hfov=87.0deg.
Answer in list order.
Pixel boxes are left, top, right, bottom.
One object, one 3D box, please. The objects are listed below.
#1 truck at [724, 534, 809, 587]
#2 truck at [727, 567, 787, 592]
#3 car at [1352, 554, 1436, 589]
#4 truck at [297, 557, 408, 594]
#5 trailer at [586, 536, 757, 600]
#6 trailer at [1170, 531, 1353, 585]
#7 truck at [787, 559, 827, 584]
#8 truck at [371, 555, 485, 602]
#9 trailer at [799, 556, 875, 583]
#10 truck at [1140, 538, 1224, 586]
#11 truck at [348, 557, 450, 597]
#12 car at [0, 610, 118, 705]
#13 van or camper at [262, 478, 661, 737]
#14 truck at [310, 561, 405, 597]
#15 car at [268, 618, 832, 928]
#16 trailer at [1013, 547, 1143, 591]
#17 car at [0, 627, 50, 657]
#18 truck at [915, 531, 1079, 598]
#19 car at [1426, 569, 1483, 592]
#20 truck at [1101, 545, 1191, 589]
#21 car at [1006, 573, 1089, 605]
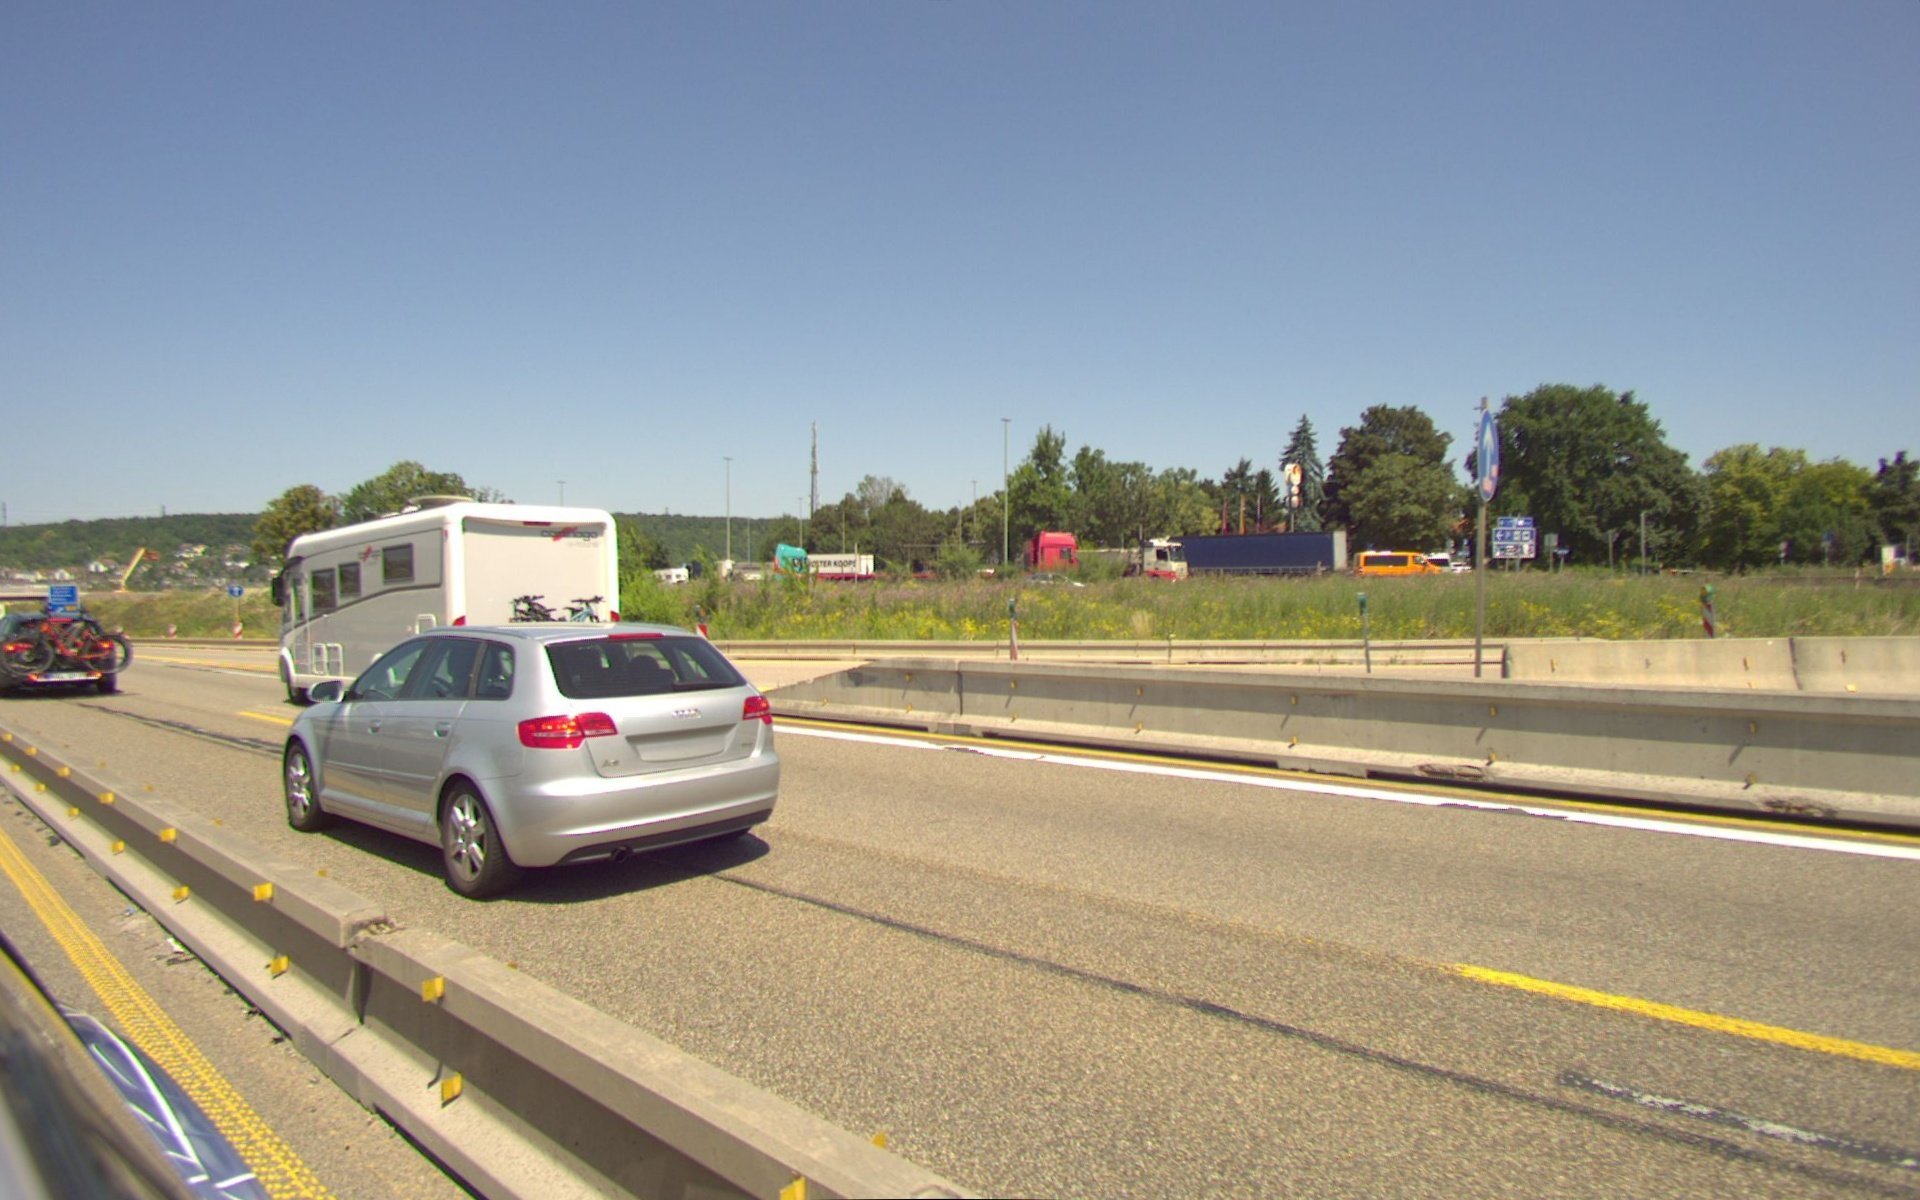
[{"bbox_3d":[-15.024,-3.082,78.920,6.053,3.777,2.837,-3,2,-5],"label":"truck"},{"bbox_3d":[-23.421,-2.304,116.523,7.774,2.624,2.516,-1,1,41],"label":"truck"},{"bbox_3d":[30.437,-1.979,71.146,4.964,2.270,1.996,-2,1,6],"label":"car"},{"bbox_3d":[-73.325,-2.973,122.272,11.341,3.701,2.535,-4,3,-6],"label":"truck"},{"bbox_3d":[-22.173,-2.518,78.321,12.190,4.197,2.864,-3,2,-5],"label":"trailer"},{"bbox_3d":[22.905,-3.116,77.930,13.424,3.649,2.991,-1,1,41],"label":"trailer"},{"bbox_3d":[-21.414,-4.005,141.250,4.901,3.382,2.866,-1,1,38],"label":"truck"},{"bbox_3d":[-55.895,-2.318,106.611,9.740,4.250,3.591,-3,3,-6],"label":"truck"},{"bbox_3d":[-16.793,-4.066,137.559,11.692,3.405,2.915,-1,0,39],"label":"trailer"},{"bbox_3d":[17.985,-3.039,82.038,5.956,3.649,2.836,-1,1,40],"label":"truck"},{"bbox_3d":[-61.194,-2.539,110.566,9.132,3.701,2.867,-4,3,-6],"label":"truck"},{"bbox_3d":[-17.570,1.015,19.352,4.489,1.614,1.630,-1,-1,42],"label":"car"},{"bbox_3d":[-7.680,0.127,14.935,7.818,2.939,2.412,-1,0,41],"label":"van or camper"},{"bbox_3d":[-70.253,-2.485,118.175,9.016,3.568,2.696,-3,3,-6],"label":"truck"},{"bbox_3d":[-2.751,0.797,6.379,3.887,1.362,1.692,-1,-2,40],"label":"car"},{"bbox_3d":[8.304,-2.147,72.091,9.383,2.788,2.232,-1,1,38],"label":"trailer"},{"bbox_3d":[-45.444,2.010,48.919,3.942,1.377,1.630,-1,-2,40],"label":"car"},{"bbox_3d":[2.270,-2.217,63.138,9.941,3.805,2.002,-2,1,-4],"label":"truck"},{"bbox_3d":[41.742,-1.612,85.492,3.938,1.847,1.745,-1,0,-7],"label":"car"},{"bbox_3d":[12.600,-2.188,68.715,5.624,2.788,2.248,-1,1,38],"label":"truck"},{"bbox_3d":[4.345,-0.524,49.869,3.954,1.519,1.995,-1,0,9],"label":"car"}]
